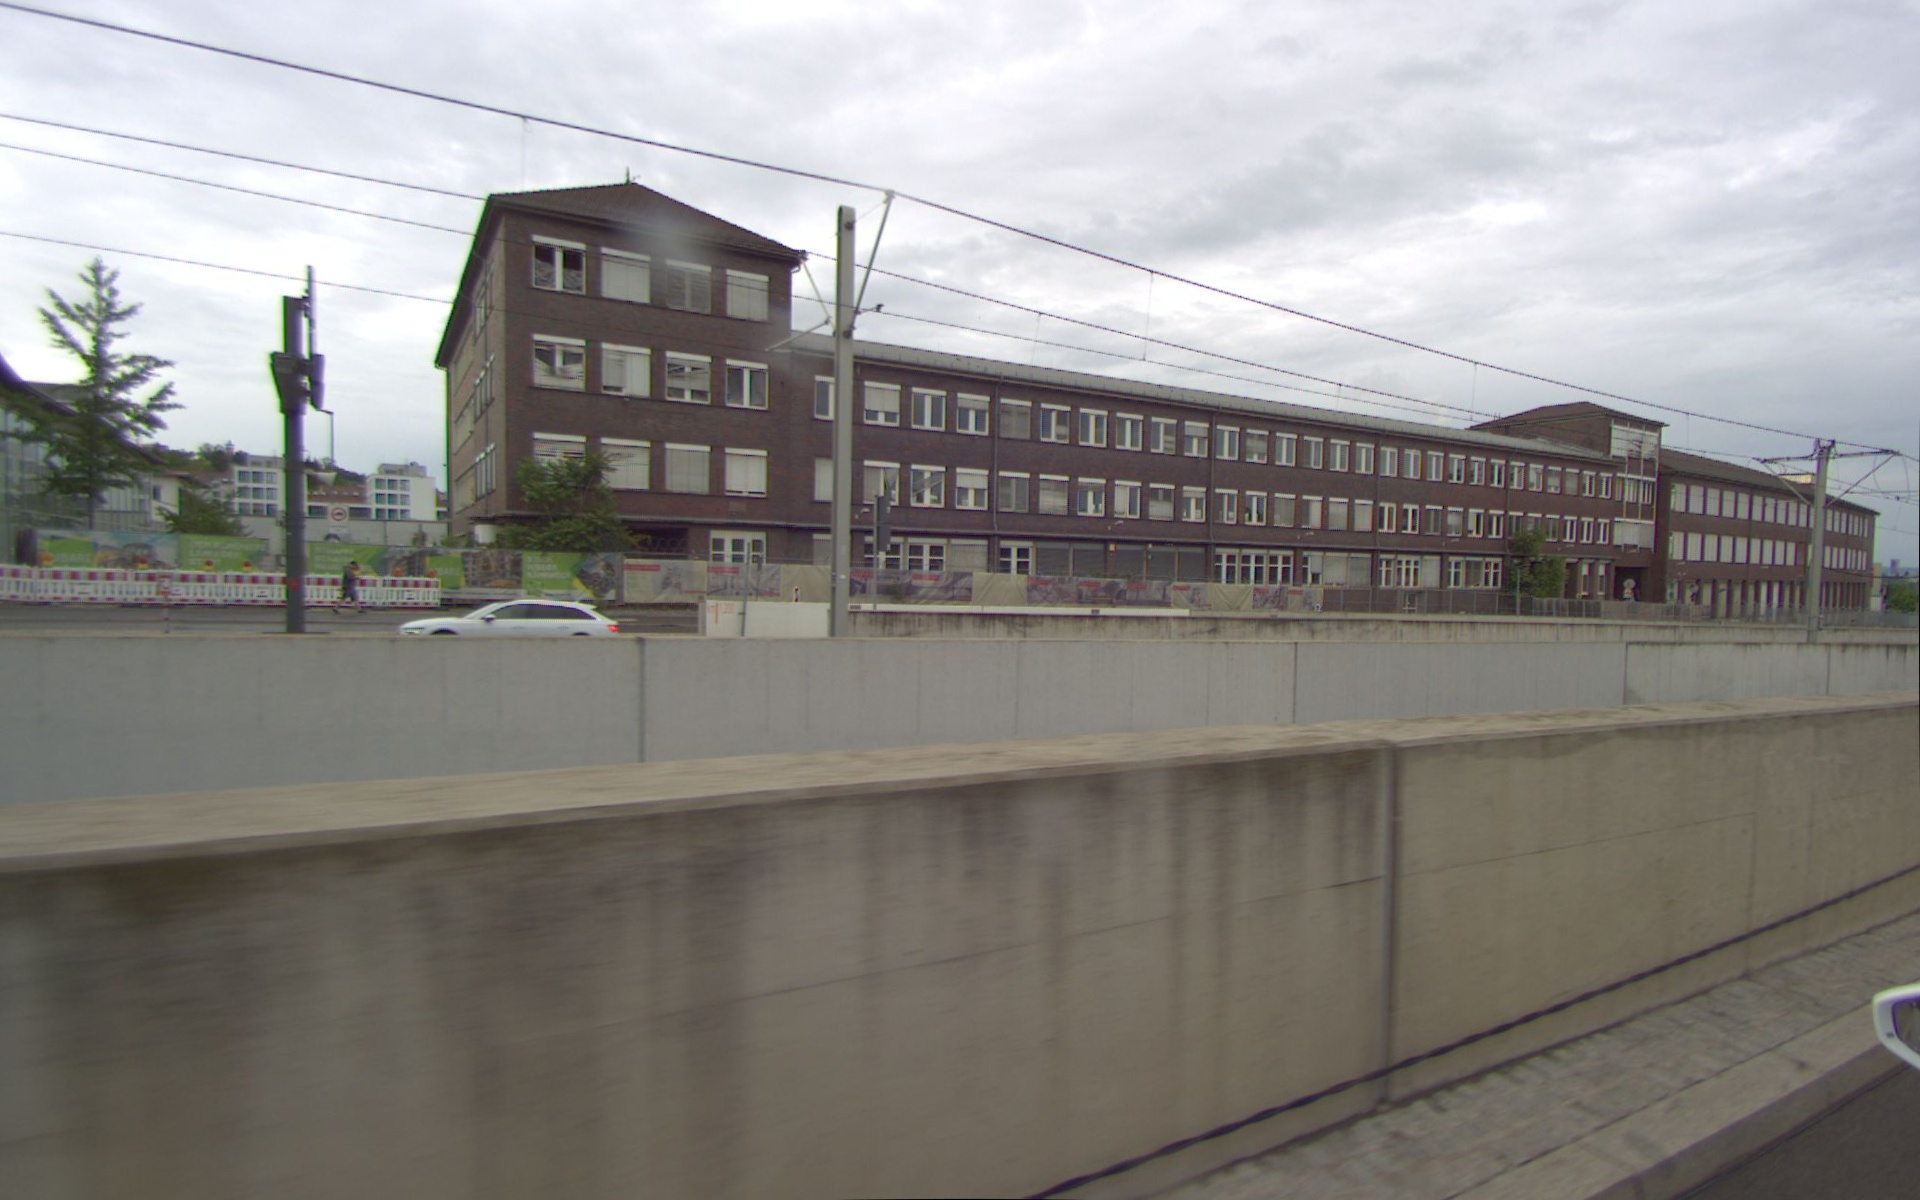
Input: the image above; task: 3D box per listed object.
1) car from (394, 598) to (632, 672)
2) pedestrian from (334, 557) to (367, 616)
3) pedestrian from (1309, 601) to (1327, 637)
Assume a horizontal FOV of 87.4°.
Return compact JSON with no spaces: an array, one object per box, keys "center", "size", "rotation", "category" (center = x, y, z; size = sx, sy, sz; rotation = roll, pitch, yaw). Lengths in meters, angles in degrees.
[{"center":[-10.500,0.788,23.739],"size":[4.898,1.536,1.898],"rotation":[1,1,-34],"category":"car"},{"center":[-18.656,-0.415,30.768],"size":[0.830,1.774,0.612],"rotation":[1,1,-30],"category":"pedestrian"},{"center":[20.580,1.089,57.765],"size":[0.645,2.040,0.667],"rotation":[1,1,-32],"category":"pedestrian"}]
